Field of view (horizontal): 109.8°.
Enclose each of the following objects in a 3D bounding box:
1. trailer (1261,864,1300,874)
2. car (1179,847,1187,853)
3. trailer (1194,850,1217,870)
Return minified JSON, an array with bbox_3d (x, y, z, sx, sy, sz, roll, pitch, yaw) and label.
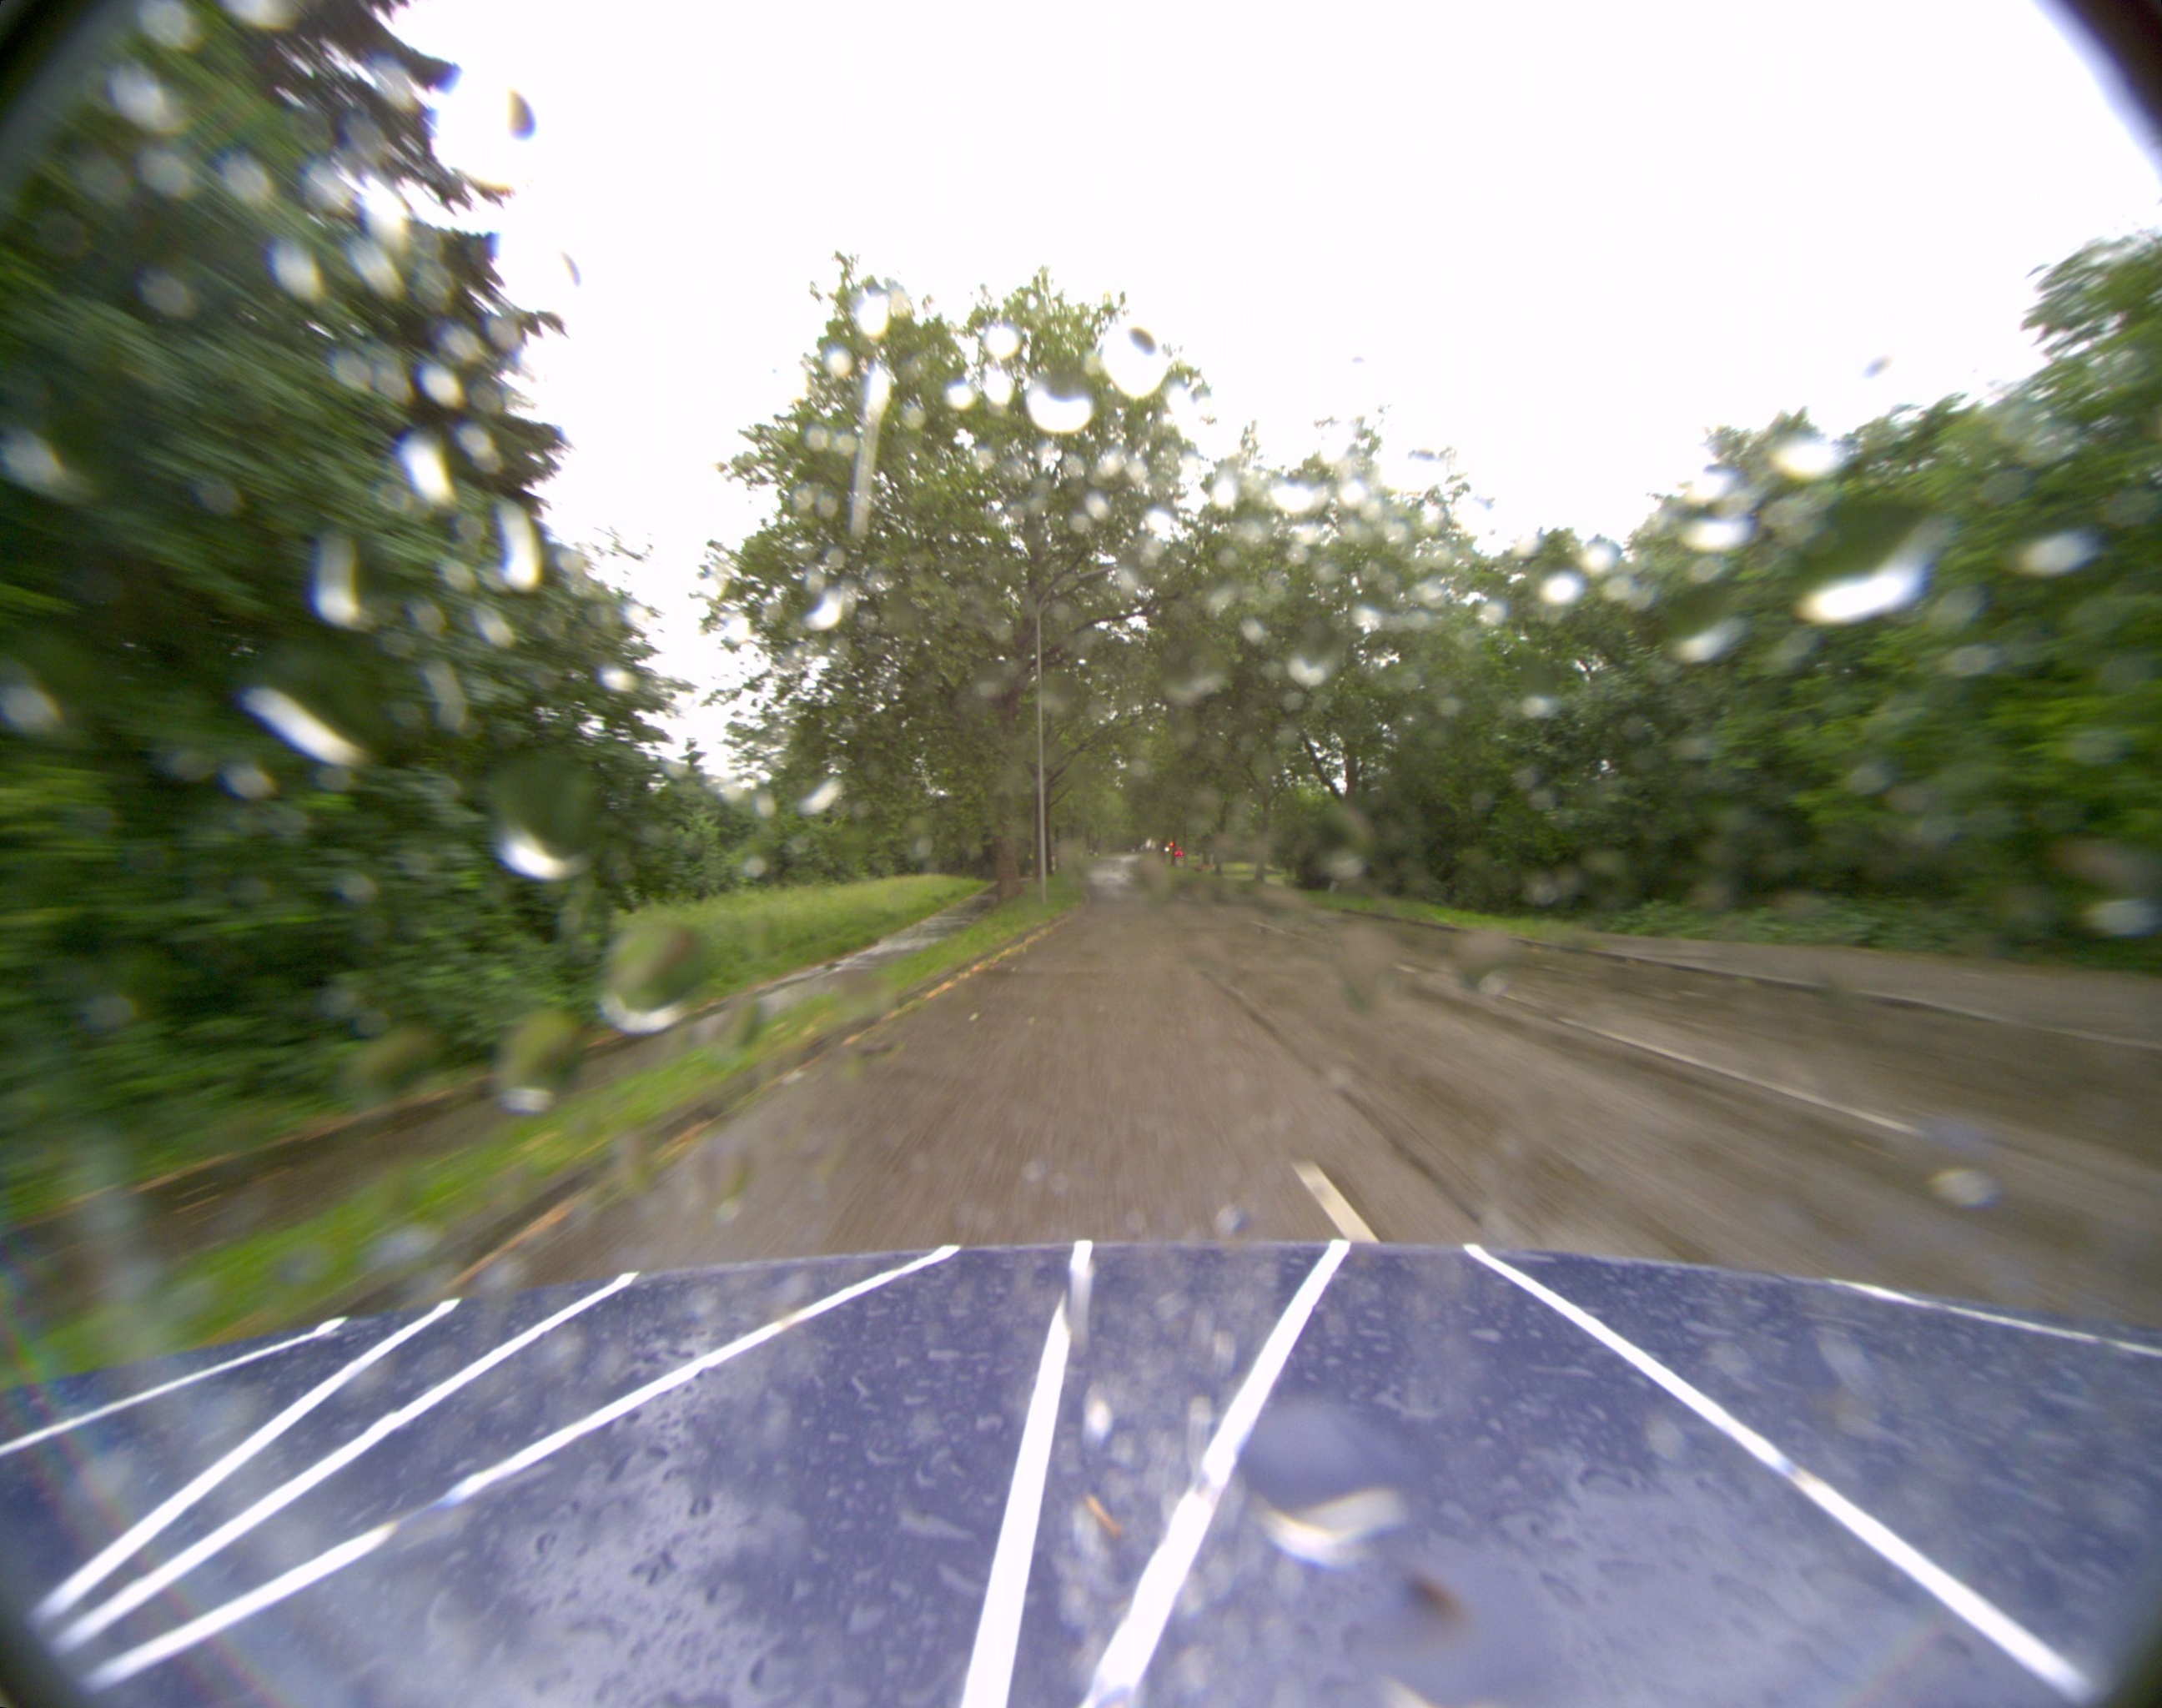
[{"bbox_3d":[24.756,1.824,94.435,4.327,1.026,2.382,1,1,1],"label":"trailer"},{"bbox_3d":[32.757,-1.285,243.483,1.896,1.673,4.004,2,2,17],"label":"car"},{"bbox_3d":[18.437,0.887,112.795,2.804,2.648,6.653,1,1,4],"label":"trailer"}]
